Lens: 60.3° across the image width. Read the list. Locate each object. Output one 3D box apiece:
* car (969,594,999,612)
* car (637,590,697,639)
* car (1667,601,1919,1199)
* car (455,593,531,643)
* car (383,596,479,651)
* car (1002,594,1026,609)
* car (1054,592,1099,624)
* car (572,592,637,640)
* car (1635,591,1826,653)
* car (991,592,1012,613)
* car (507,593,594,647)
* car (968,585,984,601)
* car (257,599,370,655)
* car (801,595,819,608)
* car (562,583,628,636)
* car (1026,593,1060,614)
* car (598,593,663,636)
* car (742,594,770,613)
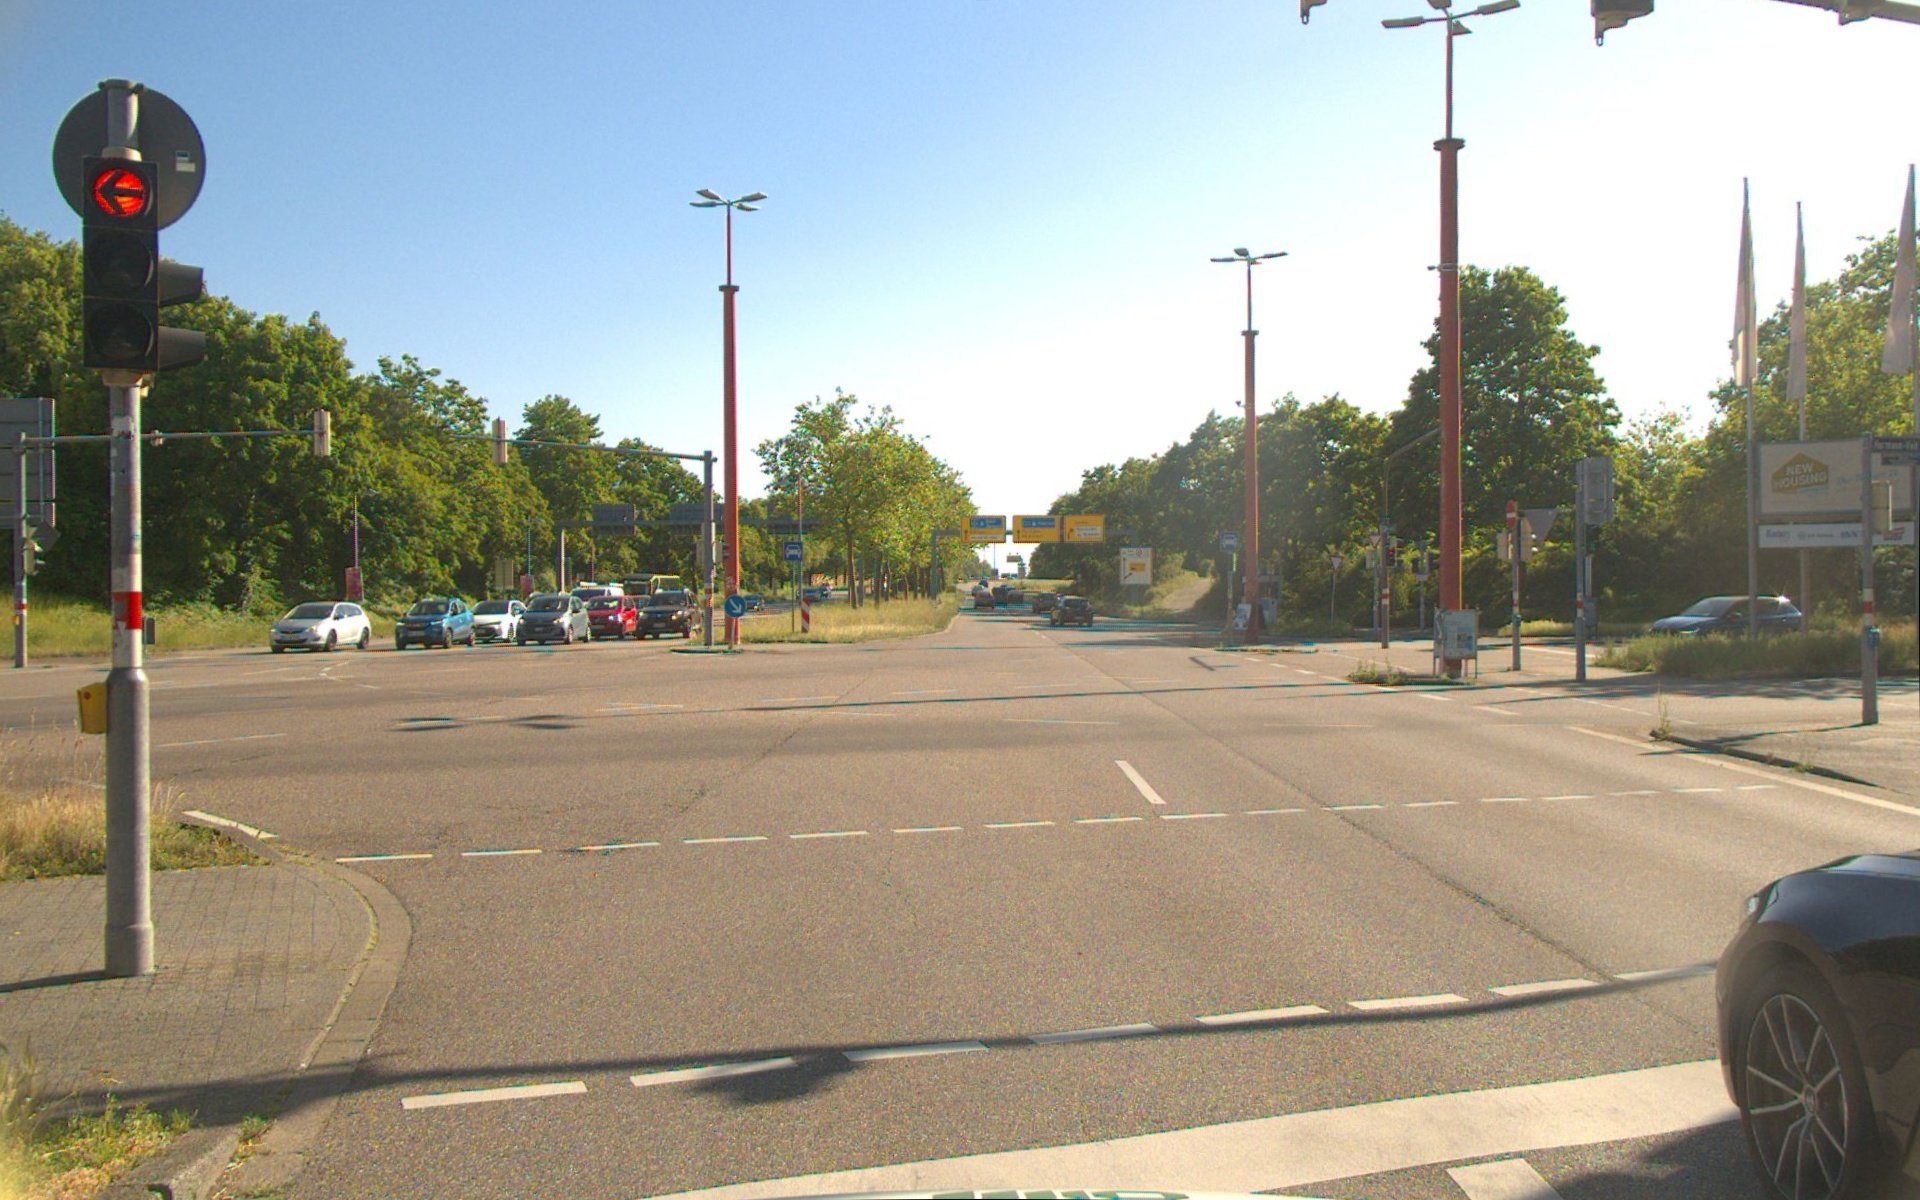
[{"bbox_3d":[2.109,0.269,147.387,2.202,1.601,4.276,0,0,-5],"label":"car"},{"bbox_3d":[-9.878,0.474,55.988,1.841,1.601,4.113,0,0,-8],"label":"car"},{"bbox_3d":[2.968,0.717,2.357,1.953,1.419,4.476,0,0,-1],"label":"car"},{"bbox_3d":[-15.994,0.599,56.781,1.956,1.601,4.113,-1,0,-8],"label":"car"},{"bbox_3d":[-16.212,0.685,50.888,1.955,1.601,4.116,0,0,-5],"label":"car"},{"bbox_3d":[5.877,0.149,180.436,2.116,1.601,4.277,0,0,-4],"label":"car"},{"bbox_3d":[6.031,0.418,85.936,2.114,1.601,4.281,0,0,1],"label":"car"},{"bbox_3d":[-12.482,0.542,58.268,1.956,1.601,4.113,0,0,-8],"label":"car"},{"bbox_3d":[19.099,0.527,41.012,4.201,1.453,1.874,0,0,-19],"label":"car"},{"bbox_3d":[4.096,0.284,164.916,1.953,2.049,3.999,0,0,-1],"label":"car"},{"bbox_3d":[-12.808,0.606,51.961,1.954,1.601,4.118,0,0,-4],"label":"car"},{"bbox_3d":[2.172,-0.946,223.838,1.953,2.049,3.999,0,0,-1],"label":"car"},{"bbox_3d":[-19.590,0.788,50.295,1.954,1.601,4.118,0,0,-3],"label":"car"},{"bbox_3d":[-17.668,0.198,194.874,1.846,1.480,3.656,0,0,0],"label":"car"},{"bbox_3d":[-15.675,0.388,71.262,2.021,2.231,4.376,0,0,-3],"label":"car"},{"bbox_3d":[6.477,0.288,129.319,2.116,1.601,4.277,0,0,-4],"label":"car"},{"bbox_3d":[-12.715,0.530,64.044,1.954,1.601,4.117,0,0,-4],"label":"car"},{"bbox_3d":[-18.004,0.283,146.388,1.953,1.601,4.120,0,0,0],"label":"car"}]
